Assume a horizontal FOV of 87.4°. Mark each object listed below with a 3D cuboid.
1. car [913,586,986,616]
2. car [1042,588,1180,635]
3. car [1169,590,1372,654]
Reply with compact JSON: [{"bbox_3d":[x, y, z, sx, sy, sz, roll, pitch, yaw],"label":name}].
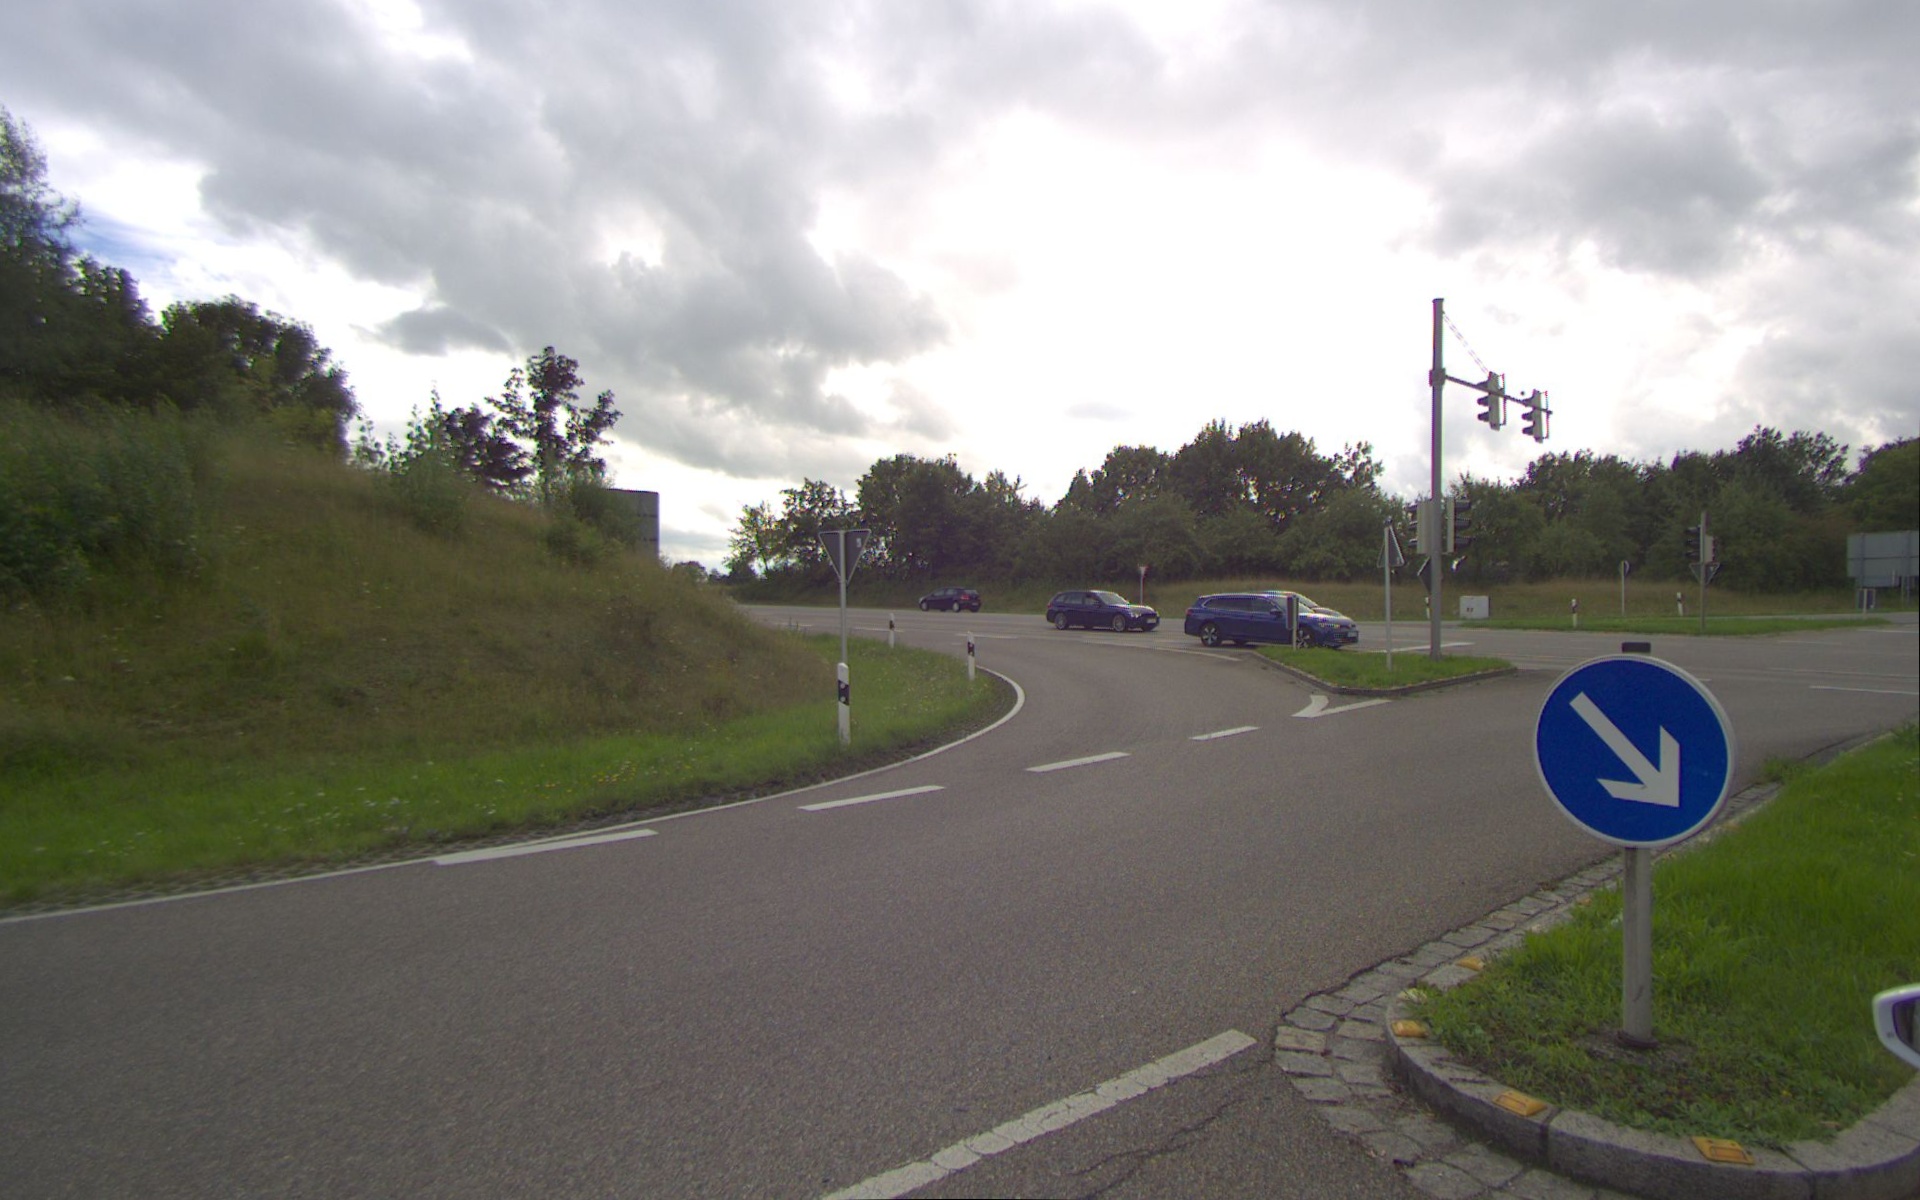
[{"bbox_3d":[-0.623,0.059,58.601,3.937,1.712,1.841,1,0,38],"label":"car"},{"bbox_3d":[5.455,0.367,36.754,2.040,1.504,4.820,-2,2,-43],"label":"car"},{"bbox_3d":[8.489,0.535,27.822,2.038,1.555,5.060,-1,2,-44],"label":"car"}]
